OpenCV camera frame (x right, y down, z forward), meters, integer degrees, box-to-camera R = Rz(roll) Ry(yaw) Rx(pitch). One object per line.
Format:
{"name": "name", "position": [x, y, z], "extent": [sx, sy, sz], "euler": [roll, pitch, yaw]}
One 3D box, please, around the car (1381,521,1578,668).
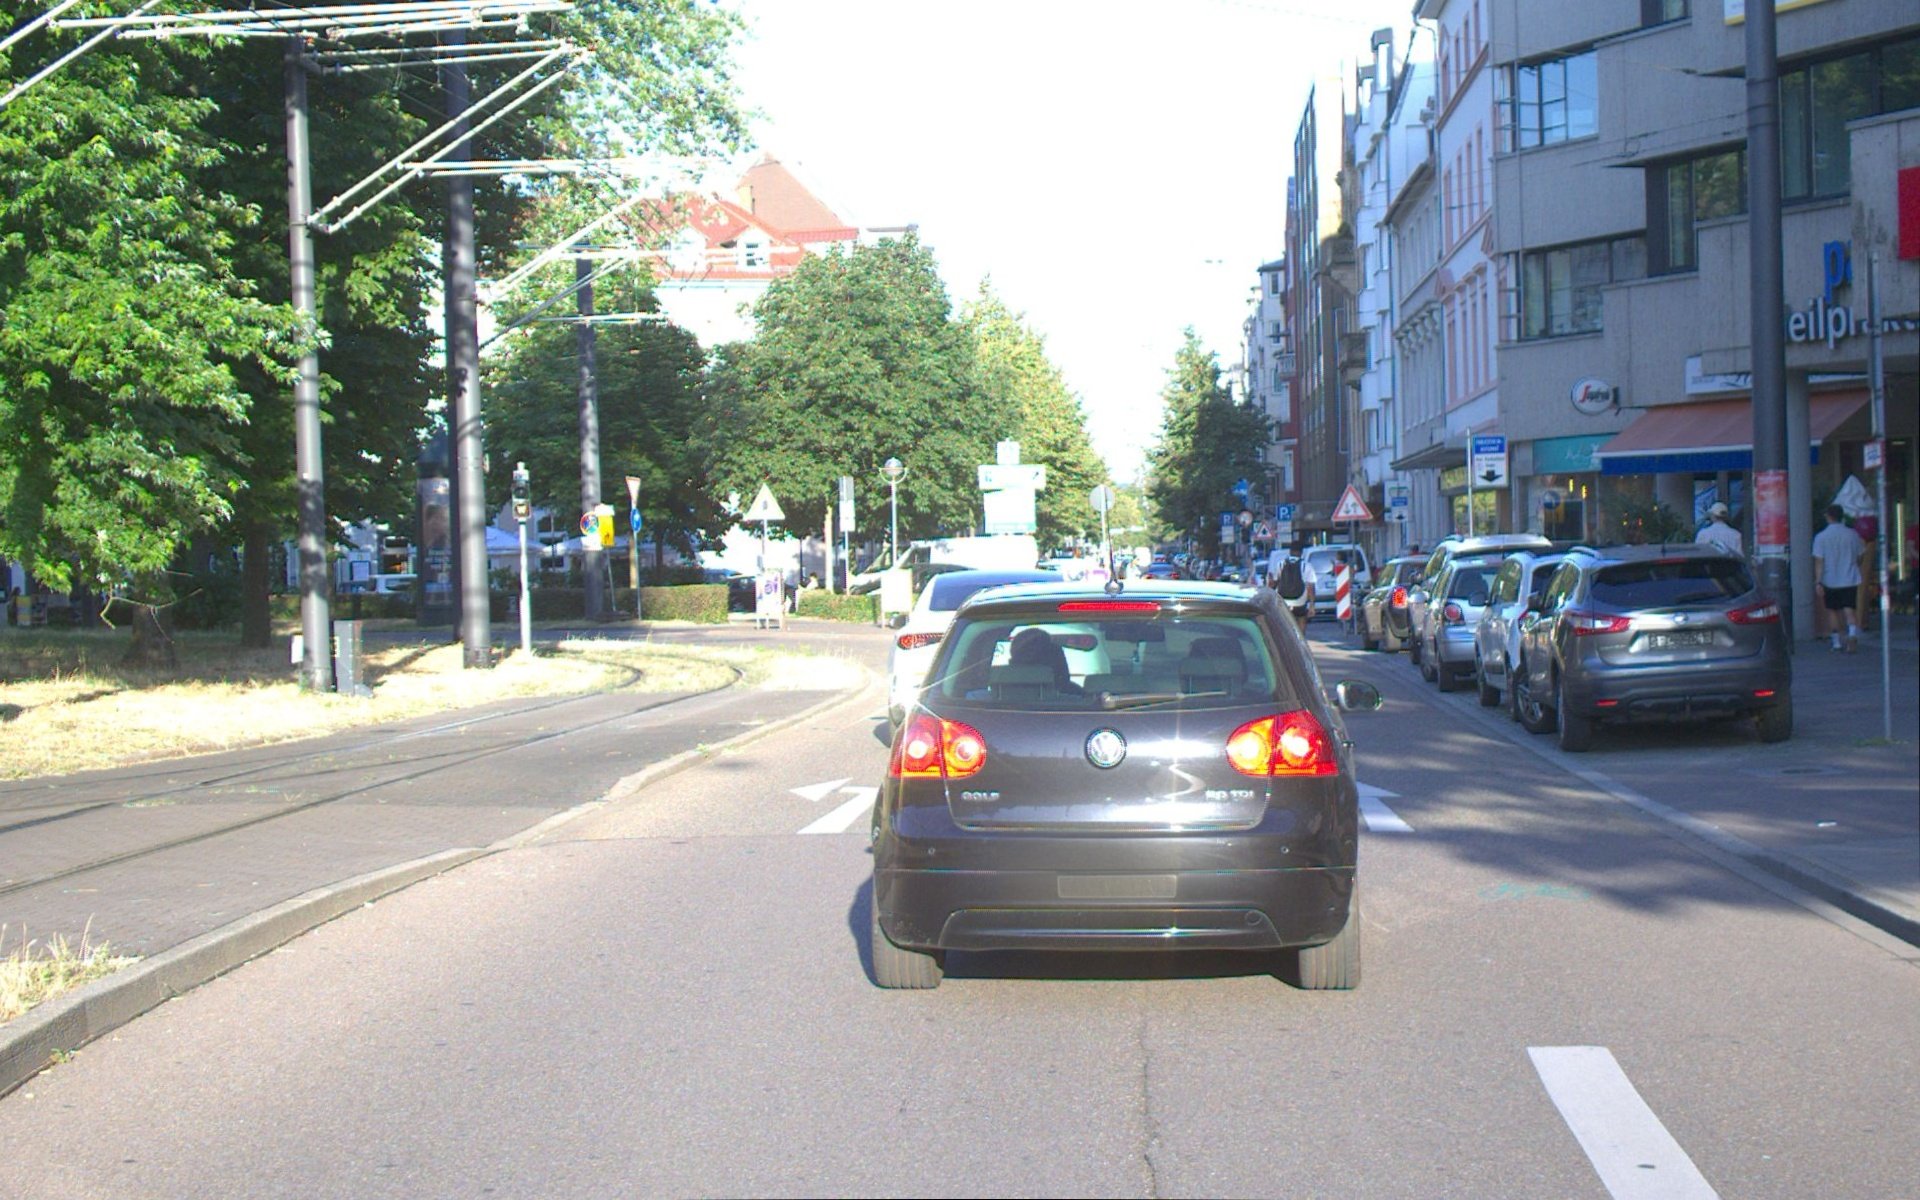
{"name": "car", "position": [6.701, -0.094, 44.756], "extent": [1.867, 1.708, 4.505], "euler": [-3, 1, 1]}

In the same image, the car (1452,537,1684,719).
{"name": "car", "position": [5.769, 0.232, 32.956], "extent": [1.607, 1.551, 3.610], "euler": [-3, 1, 2]}

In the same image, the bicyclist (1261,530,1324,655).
{"name": "bicyclist", "position": [4.344, -0.104, 44.934], "extent": [0.777, 1.613, 1.025], "euler": [0, 0, 3]}

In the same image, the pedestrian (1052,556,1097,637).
{"name": "pedestrian", "position": [2.404, -0.076, 71.995], "extent": [0.859, 1.700, 0.941], "euler": [0, 0, -3]}

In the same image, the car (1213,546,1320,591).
{"name": "car", "position": [12.547, -1.293, 140.735], "extent": [3.991, 1.766, 1.998], "euler": [-1, 1, 19]}

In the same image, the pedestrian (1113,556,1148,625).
{"name": "pedestrian", "position": [3.880, -0.208, 78.067], "extent": [0.736, 1.549, 0.632], "euler": [-1, 0, 0]}

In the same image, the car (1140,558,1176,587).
{"name": "car", "position": [10.846, -1.505, 188.758], "extent": [1.906, 1.546, 4.000], "euler": [-1, 1, 2]}

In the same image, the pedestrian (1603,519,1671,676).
{"name": "pedestrian", "position": [7.766, -0.032, 39.459], "extent": [0.579, 1.754, 0.661], "euler": [-4, 0, 4]}

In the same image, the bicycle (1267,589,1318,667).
{"name": "bicycle", "position": [4.338, 0.357, 44.941], "extent": [0.579, 0.984, 1.935], "euler": [0, 0, 3]}

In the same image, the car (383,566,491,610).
{"name": "car", "position": [-19.000, -0.444, 124.787], "extent": [3.612, 1.547, 1.662], "euler": [-1, 0, -19]}

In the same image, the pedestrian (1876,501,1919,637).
{"name": "pedestrian", "position": [12.292, -0.405, 44.336], "extent": [0.697, 1.721, 1.032], "euler": [-2, 1, 4]}

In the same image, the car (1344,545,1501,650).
{"name": "car", "position": [7.006, -0.051, 52.397], "extent": [1.662, 1.436, 3.823], "euler": [-3, 1, -2]}

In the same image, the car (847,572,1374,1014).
{"name": "car", "position": [0.611, 0.633, 13.546], "extent": [1.748, 1.456, 4.103], "euler": [-1, 1, 3]}

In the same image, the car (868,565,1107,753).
{"name": "car", "position": [0.304, 0.447, 29.285], "extent": [1.865, 1.436, 4.197], "euler": [-1, 1, 2]}

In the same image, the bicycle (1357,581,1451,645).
{"name": "bicycle", "position": [8.372, 0.250, 64.835], "extent": [1.605, 1.115, 0.611], "euler": [-3, 1, 37]}

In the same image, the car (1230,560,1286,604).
{"name": "car", "position": [10.818, -0.660, 124.954], "extent": [1.752, 1.505, 3.545], "euler": [-3, 0, 2]}

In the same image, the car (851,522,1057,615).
{"name": "car", "position": [-0.163, -0.922, 98.996], "extent": [5.510, 2.586, 2.155], "euler": [-1, 0, -23]}

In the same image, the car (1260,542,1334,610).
{"name": "car", "position": [9.638, -0.684, 98.510], "extent": [1.925, 1.835, 4.017], "euler": [-2, 0, 4]}

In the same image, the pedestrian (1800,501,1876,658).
{"name": "pedestrian", "position": [10.048, -0.236, 39.361], "extent": [0.622, 1.734, 0.661], "euler": [-4, 0, 4]}

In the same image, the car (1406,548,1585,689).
{"name": "car", "position": [6.053, 0.177, 39.203], "extent": [1.662, 1.436, 3.854], "euler": [-3, 1, 5]}

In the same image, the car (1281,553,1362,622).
{"name": "car", "position": [9.004, -0.308, 85.876], "extent": [1.735, 1.611, 3.916], "euler": [-2, 0, 3]}

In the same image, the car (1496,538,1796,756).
{"name": "car", "position": [5.537, 0.331, 28.228], "extent": [1.782, 1.551, 4.234], "euler": [-3, 1, 4]}

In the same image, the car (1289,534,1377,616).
{"name": "car", "position": [8.728, -0.584, 80.656], "extent": [1.735, 1.794, 3.916], "euler": [-2, 0, 3]}

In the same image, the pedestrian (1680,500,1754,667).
{"name": "pedestrian", "position": [8.650, -0.191, 39.279], "extent": [0.622, 1.851, 0.661], "euler": [-4, 0, 4]}
